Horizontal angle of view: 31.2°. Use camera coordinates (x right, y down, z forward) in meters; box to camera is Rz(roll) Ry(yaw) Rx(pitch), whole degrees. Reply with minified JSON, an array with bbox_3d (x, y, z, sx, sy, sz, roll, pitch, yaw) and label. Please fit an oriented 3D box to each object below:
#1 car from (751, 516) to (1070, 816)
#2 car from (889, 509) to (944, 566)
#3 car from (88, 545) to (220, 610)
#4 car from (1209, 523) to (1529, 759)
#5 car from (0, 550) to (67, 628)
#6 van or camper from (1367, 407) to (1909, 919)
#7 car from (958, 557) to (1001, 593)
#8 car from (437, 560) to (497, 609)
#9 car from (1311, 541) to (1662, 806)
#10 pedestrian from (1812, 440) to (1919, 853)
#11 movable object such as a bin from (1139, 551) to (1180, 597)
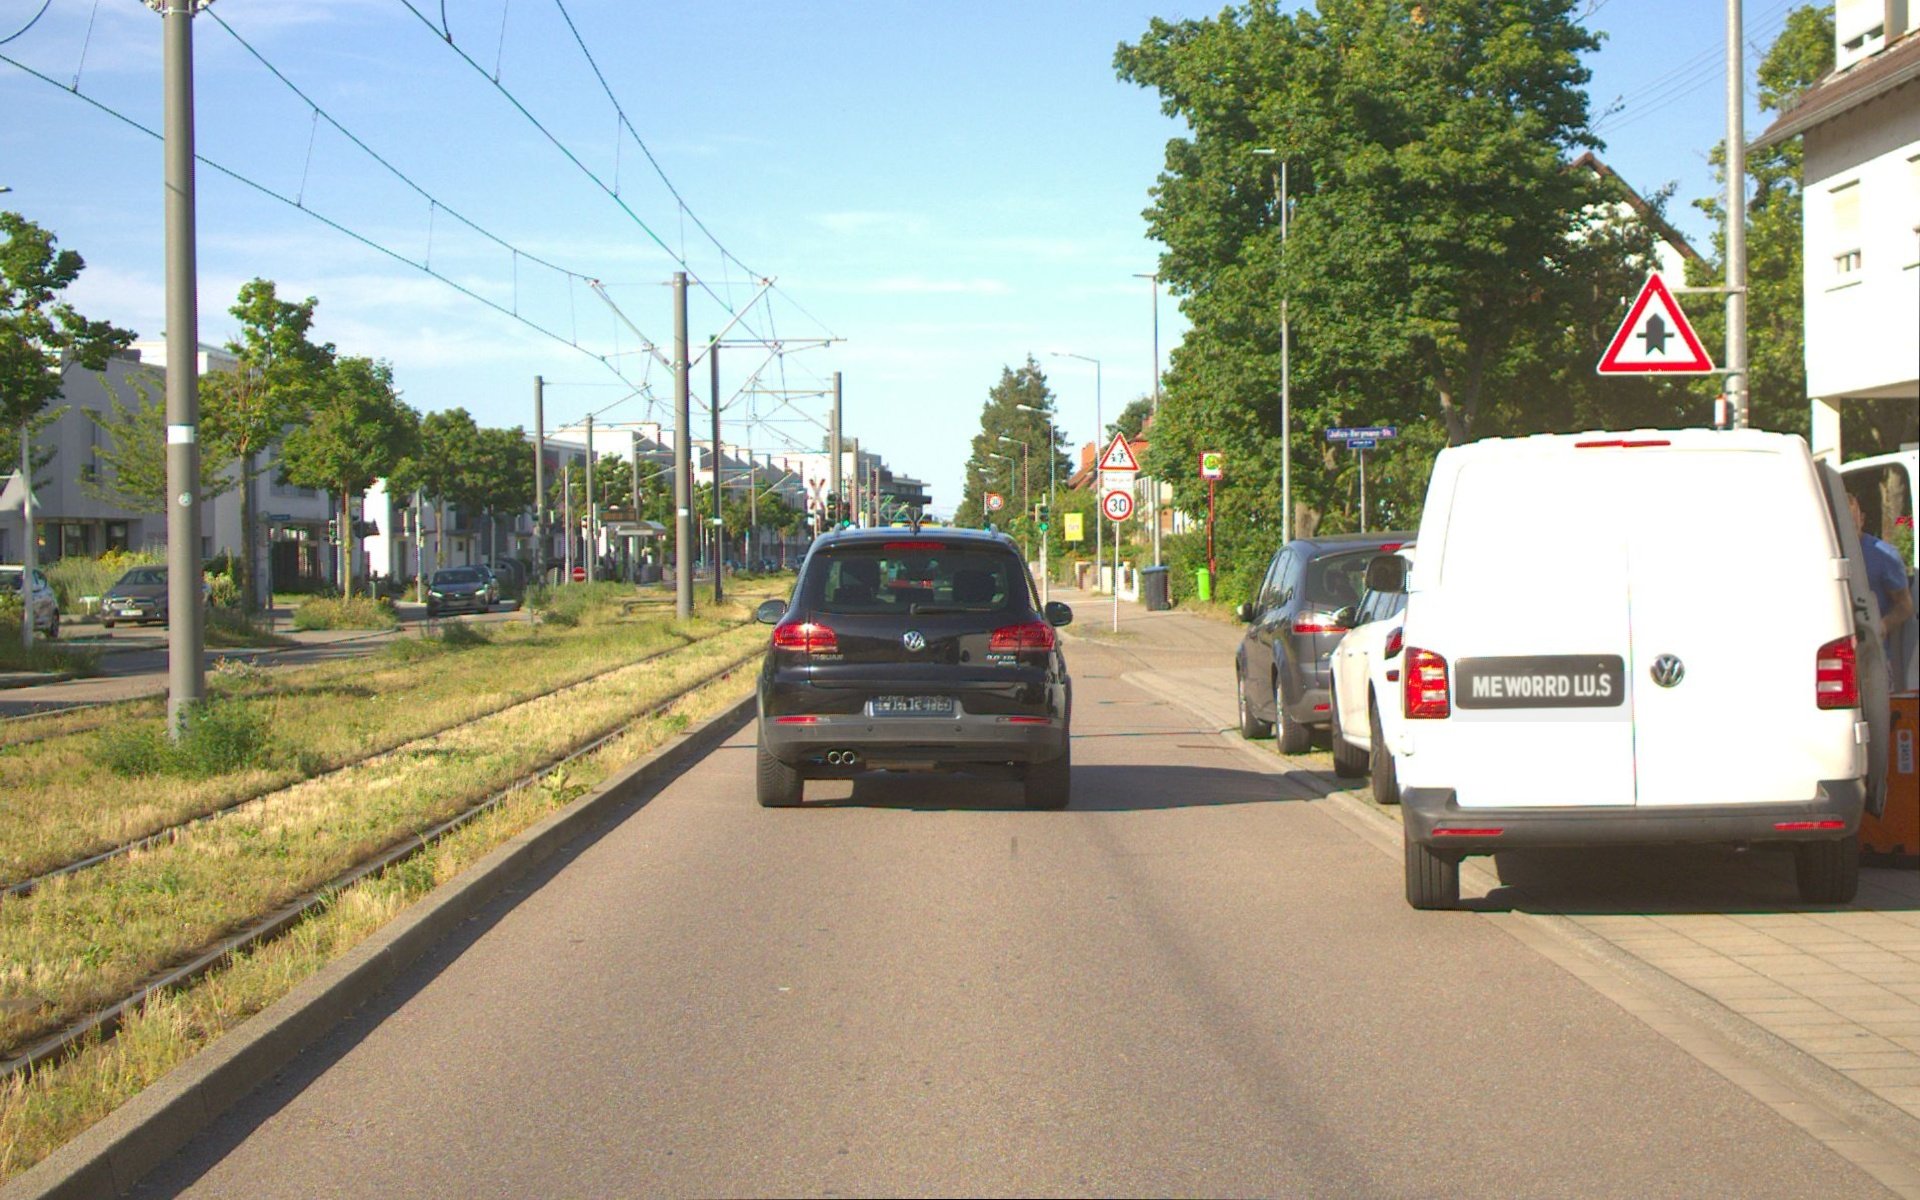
[{"bbox_3d":[-0.354,0.350,21.204,1.775,1.664,4.000,0,0,-2],"label":"car"},{"bbox_3d":[-1.987,-2.862,157.694,2.394,2.556,5.530,0,1,0],"label":"car"},{"bbox_3d":[-18.959,-0.541,81.052,1.811,1.456,4.317,1,0,4],"label":"car"},{"bbox_3d":[3.132,0.258,27.256,1.791,1.623,4.861,-3,1,-1],"label":"car"},{"bbox_3d":[-18.811,-0.239,67.675,1.544,1.486,3.775,1,0,-2],"label":"car"},{"bbox_3d":[2.944,0.201,15.842,2.028,1.950,5.293,-1,1,8],"label":"van or camper"},{"bbox_3d":[0.893,-1.160,158.750,1.775,1.664,4.000,0,1,-2],"label":"car"},{"bbox_3d":[-15.049,-0.479,105.018,1.688,1.384,4.389,-2,1,-7],"label":"car"},{"bbox_3d":[3.211,0.403,21.661,1.656,1.487,4.159,-1,0,1],"label":"car"},{"bbox_3d":[4.450,0.215,16.285,0.699,1.906,0.758,1,0,8],"label":"pedestrian"},{"bbox_3d":[4.887,-0.648,84.206,0.976,1.107,1.170,-1,1,3],"label":"movable object such as a bin"}]
